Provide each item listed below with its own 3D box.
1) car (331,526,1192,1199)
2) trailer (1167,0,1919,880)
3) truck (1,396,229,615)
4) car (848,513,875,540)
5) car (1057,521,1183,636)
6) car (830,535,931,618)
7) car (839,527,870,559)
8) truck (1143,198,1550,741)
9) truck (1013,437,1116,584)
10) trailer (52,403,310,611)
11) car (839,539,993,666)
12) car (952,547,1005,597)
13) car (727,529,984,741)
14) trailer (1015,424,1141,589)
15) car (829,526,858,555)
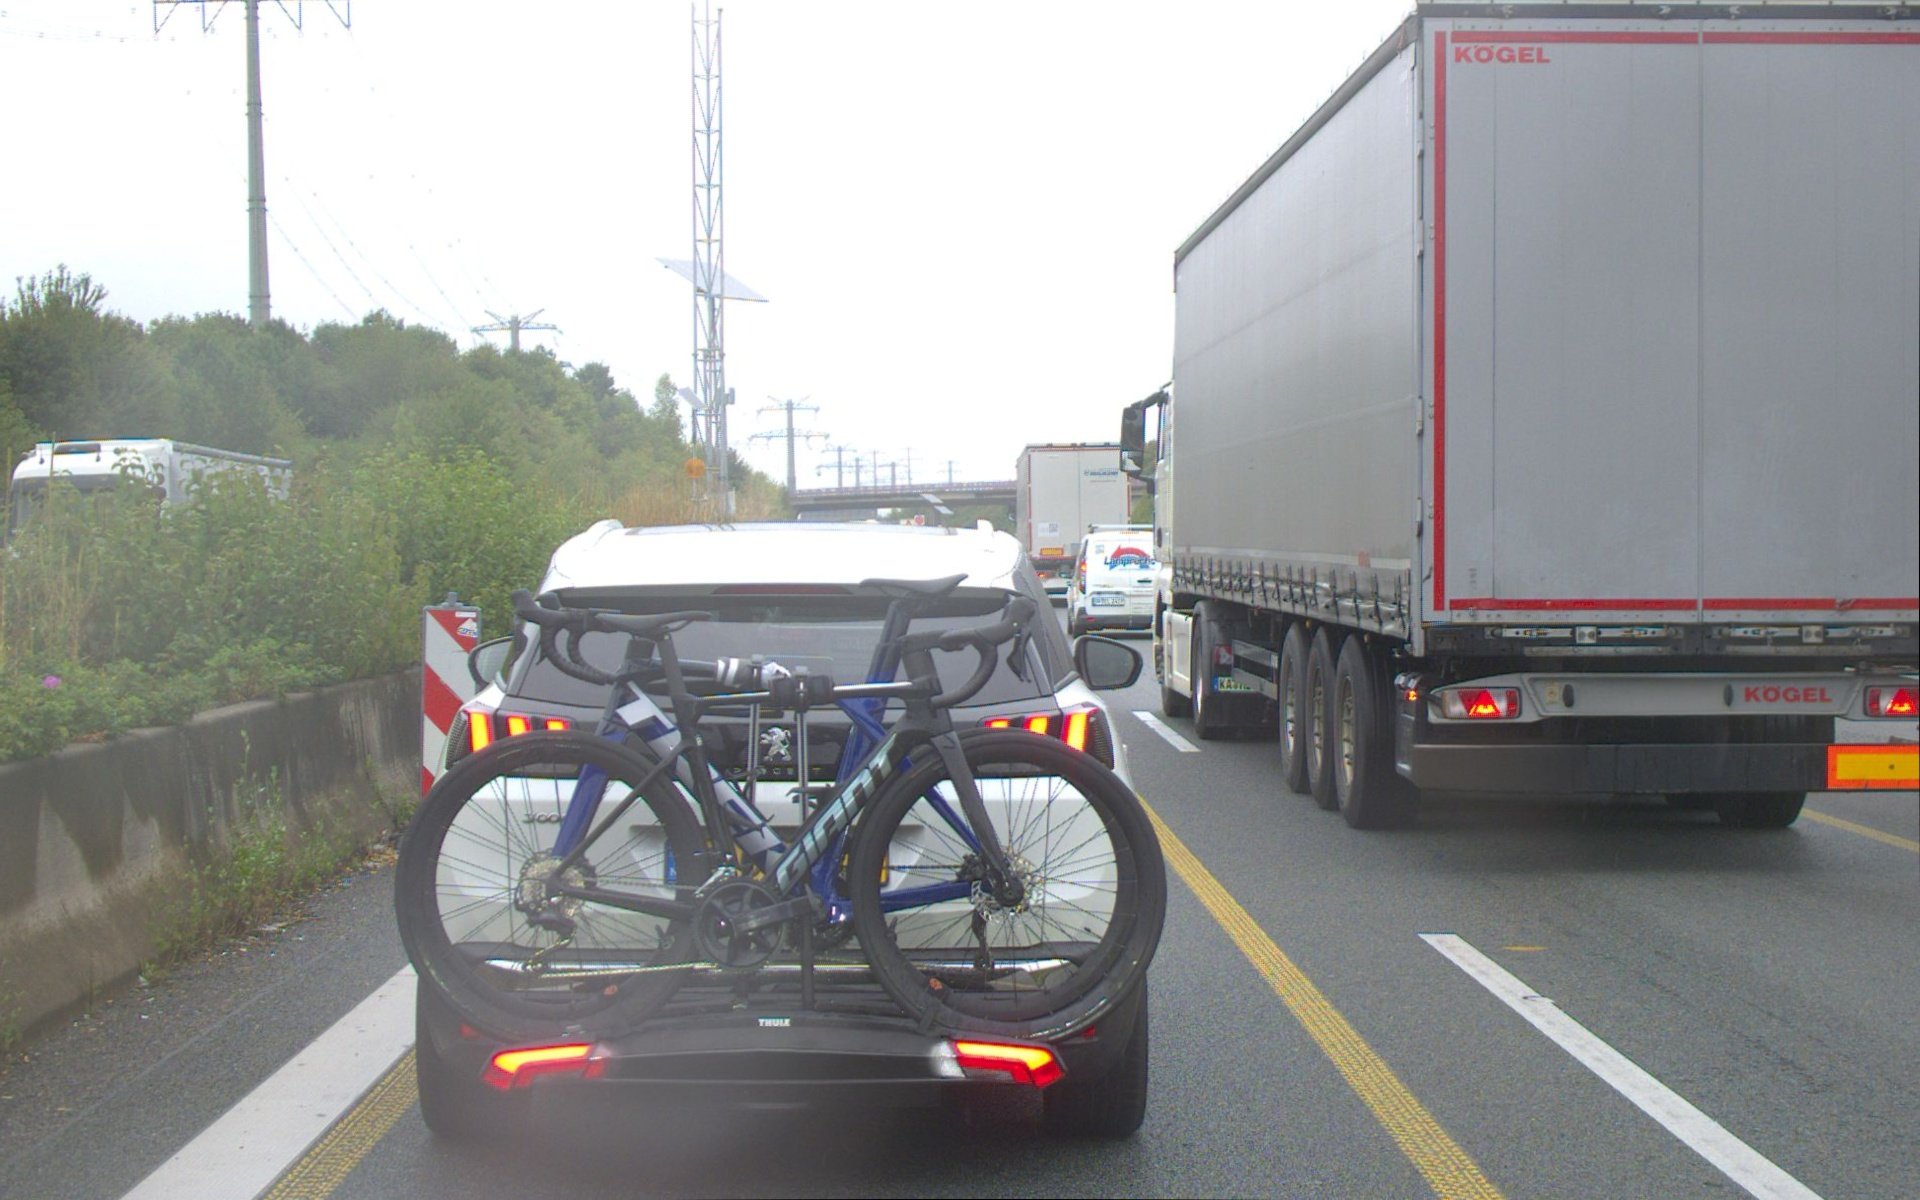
[{"bbox_3d":[-0.460,0.564,9.786,1.850,1.525,4.769,0,1,-1],"label":"car"},{"bbox_3d":[3.192,-0.938,22.121,2.706,4.132,13.733,0,1,-1],"label":"trailer"},{"bbox_3d":[-16.222,-1.795,66.507,2.785,4.010,7.234,0,1,-1],"label":"truck"},{"bbox_3d":[-7.182,-5.373,251.198,1.931,1.966,4.001,0,2,-1],"label":"car"},{"bbox_3d":[2.646,-0.386,57.642,1.829,1.833,4.656,0,1,-1],"label":"car"},{"bbox_3d":[-1.486,-0.465,65.171,1.850,1.525,4.000,0,1,-1],"label":"car"},{"bbox_3d":[-6.758,-3.644,220.957,1.931,1.966,4.001,0,2,-1],"label":"car"},{"bbox_3d":[3.087,-1.041,28.982,2.706,4.124,5.691,0,1,-1],"label":"truck"},{"bbox_3d":[2.940,-2.525,98.154,2.660,4.062,6.539,0,1,-1],"label":"truck"},{"bbox_3d":[-16.341,-1.916,73.194,2.785,4.010,13.252,0,1,-1],"label":"trailer"},{"bbox_3d":[-0.554,-0.009,43.444,1.850,1.525,4.000,0,1,-1],"label":"car"},{"bbox_3d":[0.747,-1.165,141.171,2.110,1.966,4.001,0,2,-1],"label":"car"},{"bbox_3d":[-0.784,0.221,26.817,1.850,1.525,4.000,0,1,-1],"label":"car"},{"bbox_3d":[3.014,-2.427,91.618,2.692,4.062,13.634,0,1,-1],"label":"trailer"},{"bbox_3d":[-8.081,-4.131,238.824,1.931,1.904,4.001,0,2,-1],"label":"car"}]
